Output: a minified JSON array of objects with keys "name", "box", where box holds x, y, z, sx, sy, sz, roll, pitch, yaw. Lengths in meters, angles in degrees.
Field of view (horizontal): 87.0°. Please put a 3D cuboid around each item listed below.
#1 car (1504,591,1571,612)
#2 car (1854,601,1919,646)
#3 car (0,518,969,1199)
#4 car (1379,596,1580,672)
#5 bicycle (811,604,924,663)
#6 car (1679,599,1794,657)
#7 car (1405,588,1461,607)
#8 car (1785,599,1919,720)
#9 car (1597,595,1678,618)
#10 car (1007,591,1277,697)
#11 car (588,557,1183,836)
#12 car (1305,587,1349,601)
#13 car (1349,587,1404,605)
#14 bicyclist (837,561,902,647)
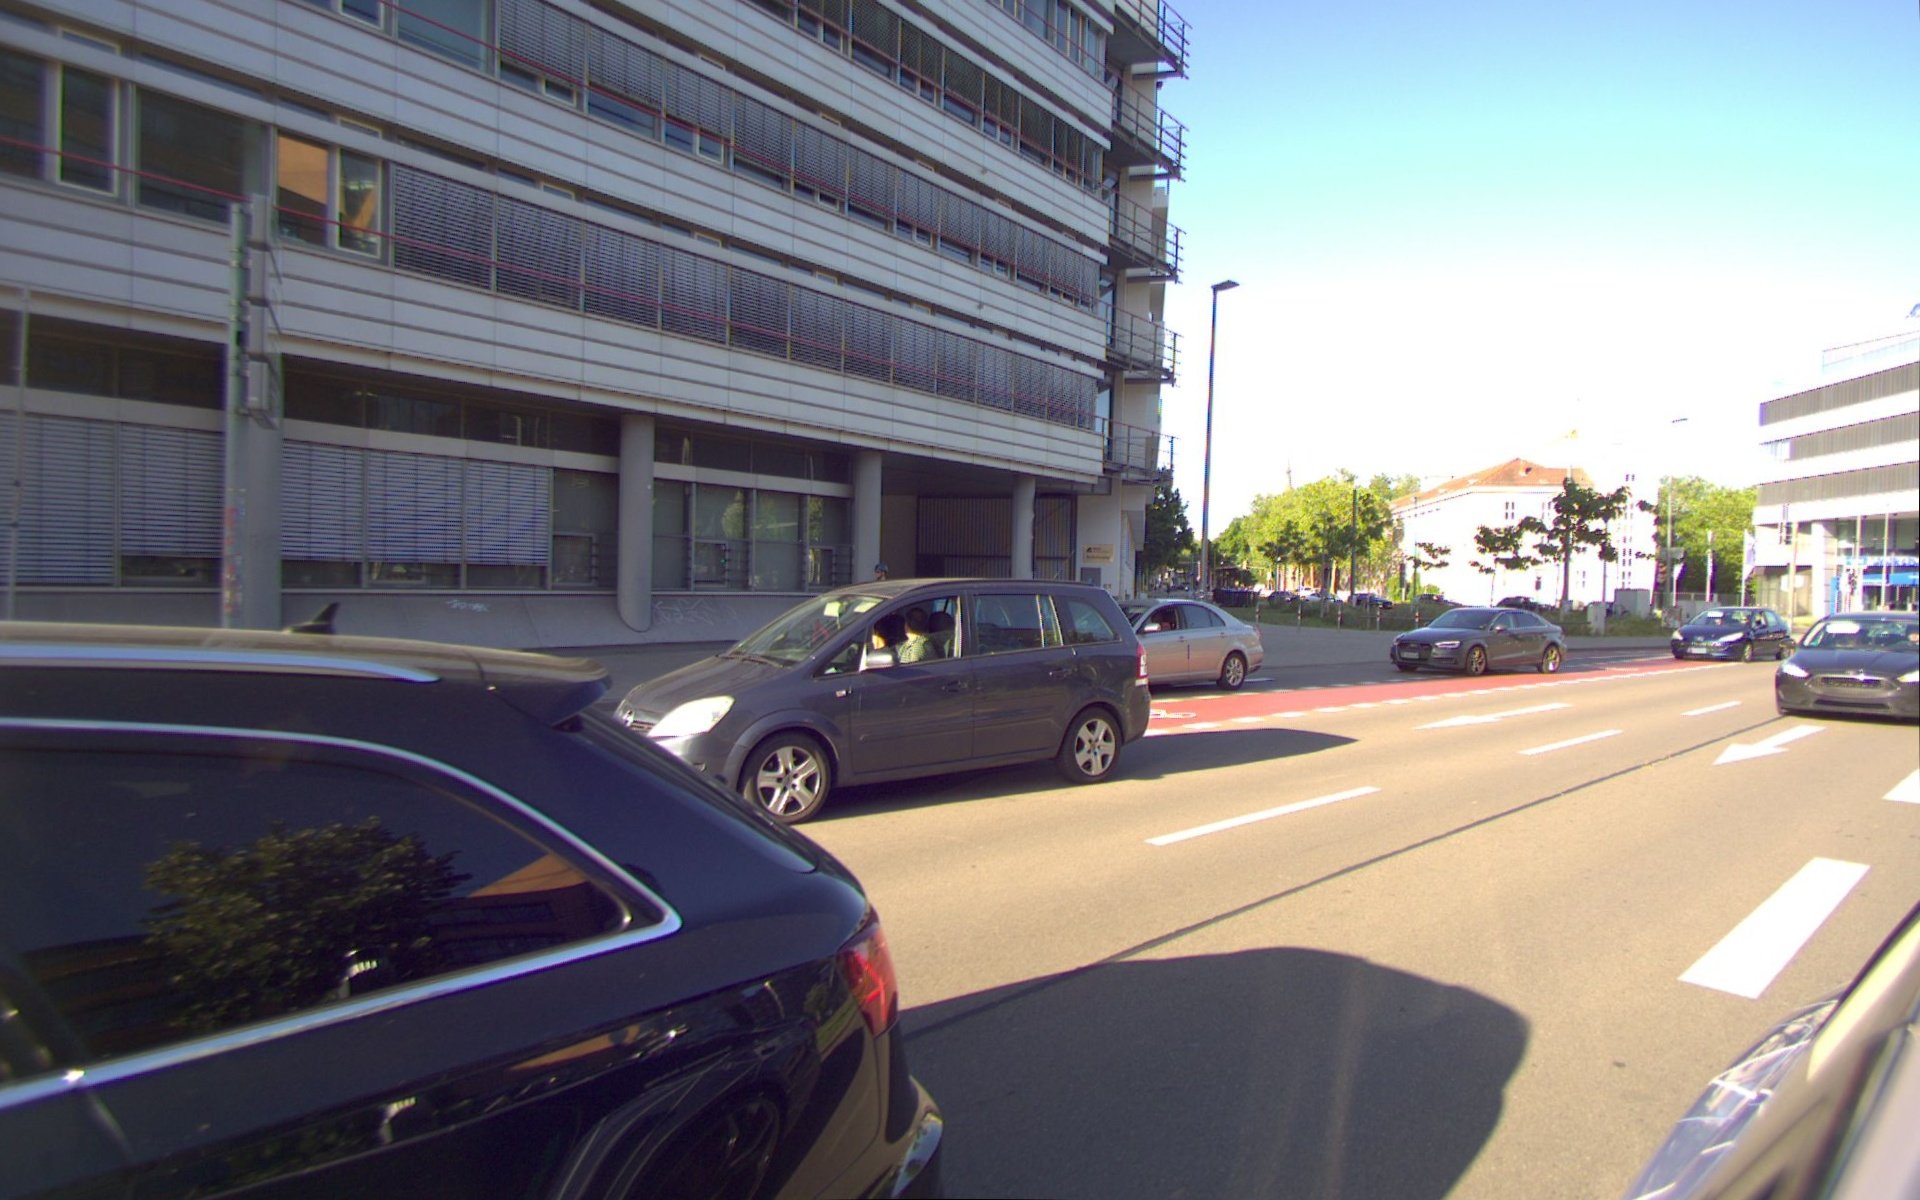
[{"name":"car","box":[43.814,0.125,76.898,1.958,1.440,4.008,1,1,-23]},{"name":"car","box":[33.087,0.823,35.445,3.920,1.463,1.442,1,1,-30]},{"name":"car","box":[-2.247,0.698,0.713,4.416,1.511,1.814,0,-1,-40]},{"name":"car","box":[11.110,0.685,21.629,4.026,1.459,1.719,0,1,-25]},{"name":"bicycle","box":[-1.722,0.611,19.085,2.165,1.045,0.500,0,1,-37]},{"name":"car","box":[21.775,0.733,28.346,3.929,1.463,1.735,0,2,-40]},{"name":"car","box":[39.680,-0.228,84.965,1.958,1.440,4.008,1,1,-23]},{"name":"car","box":[13.117,0.736,14.183,4.080,1.451,1.689,-1,1,-40]},{"name":"car","box":[47.205,0.443,70.595,1.958,1.440,4.304,1,1,-23]},{"name":"car","box":[3.010,0.608,16.263,4.406,1.449,1.756,0,1,-38]},{"name":"car","box":[-0.430,0.549,7.915,4.377,1.649,1.694,0,1,-34]},{"name":"car","box":[35.455,-0.602,97.929,1.958,1.259,4.009,1,1,-17]},{"name":"car","box":[37.412,-0.367,91.027,1.958,1.440,4.536,1,1,-21]},{"name":"bicyclist","box":[-1.697,0.064,19.028,1.024,1.586,0.626,0,1,-37]}]
